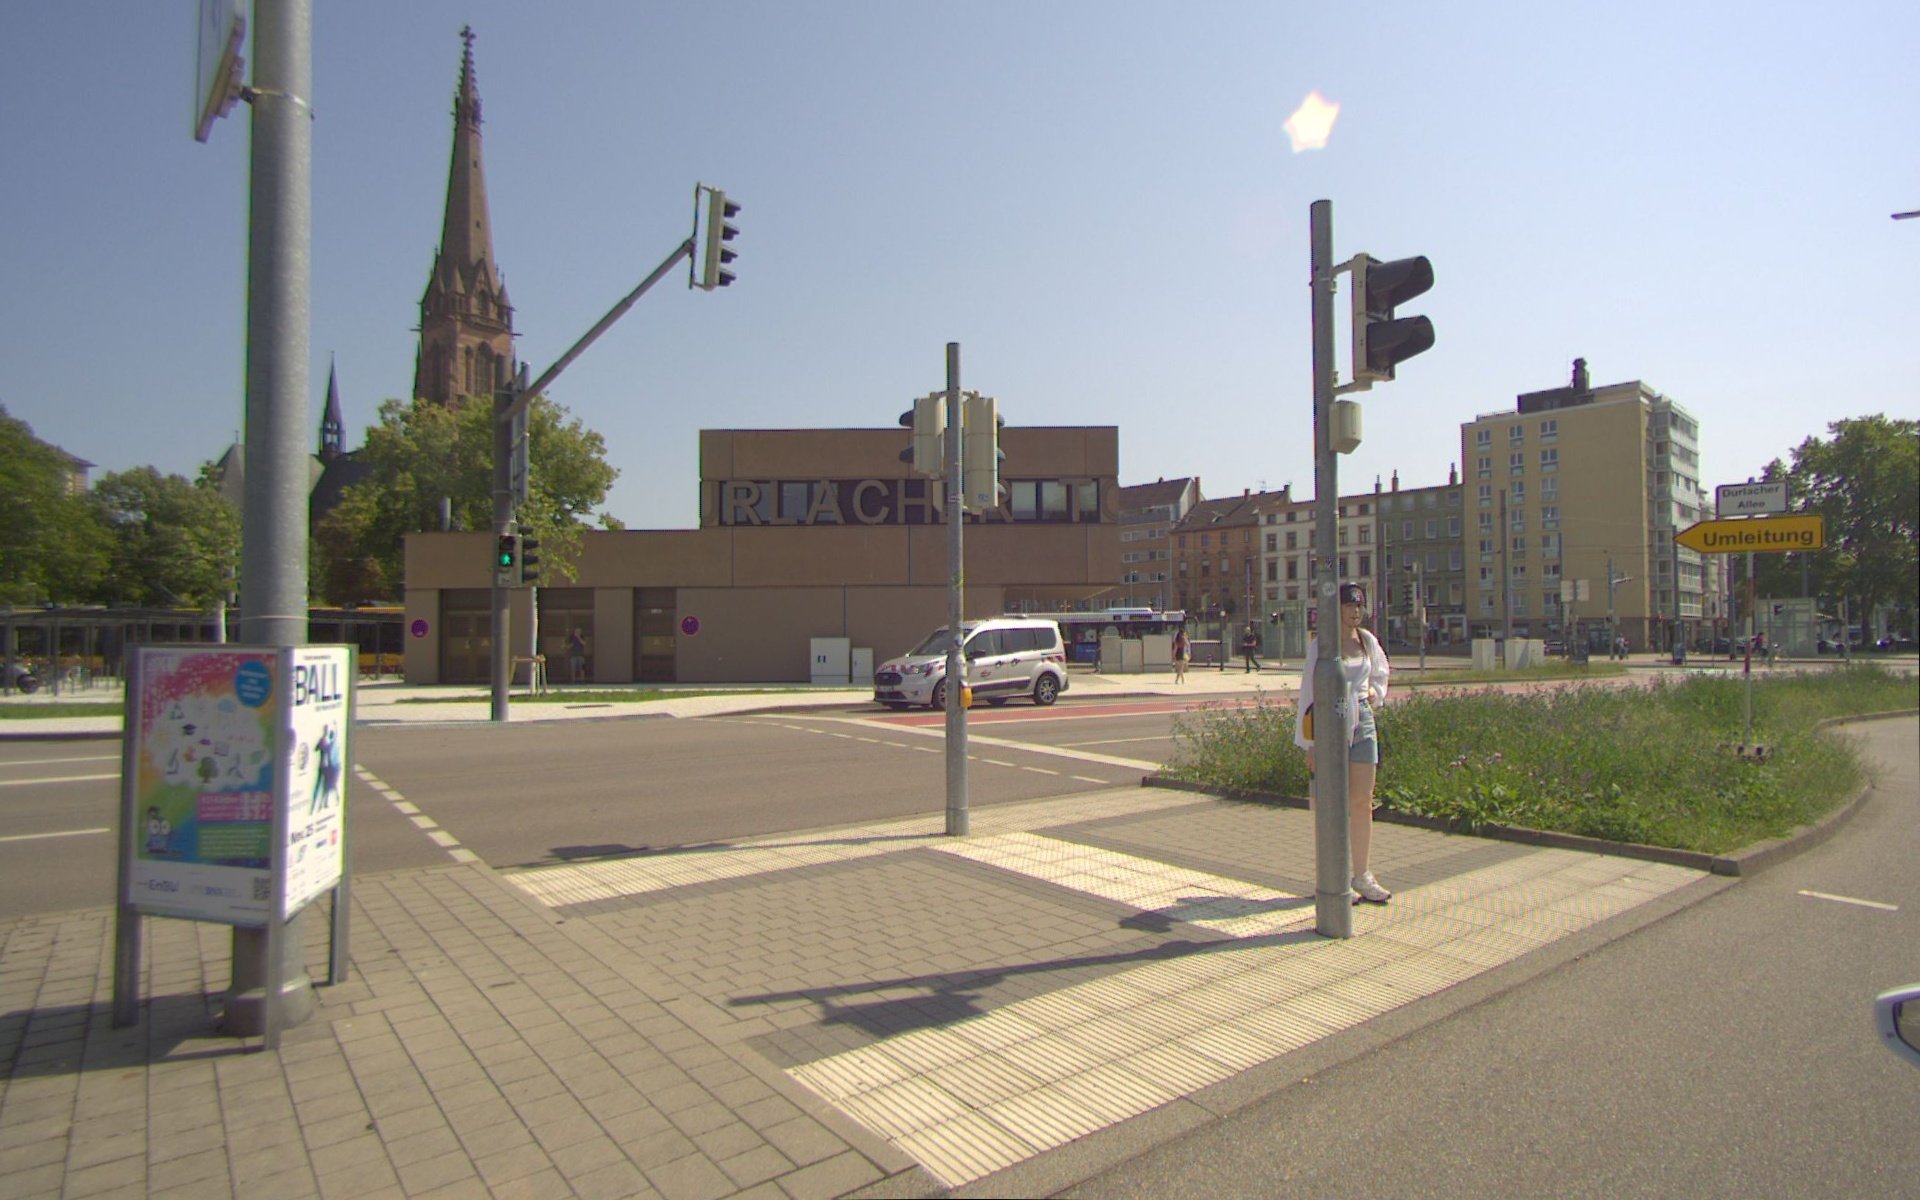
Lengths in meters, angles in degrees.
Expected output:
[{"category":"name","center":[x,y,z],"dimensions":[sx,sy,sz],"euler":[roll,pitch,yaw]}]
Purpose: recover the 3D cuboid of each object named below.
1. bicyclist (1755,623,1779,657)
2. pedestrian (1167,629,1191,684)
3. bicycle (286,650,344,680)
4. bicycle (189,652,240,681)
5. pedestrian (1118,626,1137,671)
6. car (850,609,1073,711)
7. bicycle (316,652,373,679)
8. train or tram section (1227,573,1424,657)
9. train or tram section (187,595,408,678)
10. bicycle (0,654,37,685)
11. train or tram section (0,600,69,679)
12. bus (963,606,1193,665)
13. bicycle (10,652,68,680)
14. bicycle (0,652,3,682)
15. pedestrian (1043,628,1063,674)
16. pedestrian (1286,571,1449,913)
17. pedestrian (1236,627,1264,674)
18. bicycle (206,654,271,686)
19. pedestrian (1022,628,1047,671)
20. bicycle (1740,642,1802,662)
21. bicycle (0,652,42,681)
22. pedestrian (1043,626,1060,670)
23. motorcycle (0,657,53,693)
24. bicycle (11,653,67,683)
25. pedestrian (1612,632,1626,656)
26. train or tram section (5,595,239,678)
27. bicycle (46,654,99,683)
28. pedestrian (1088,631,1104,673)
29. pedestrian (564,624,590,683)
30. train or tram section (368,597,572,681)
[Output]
[{"category":"bicyclist","center":[40.666,2.009,50.611],"dimensions":[0.603,1.664,0.830],"euler":[2,-3,-44]},{"category":"pedestrian","center":[6.998,1.784,32.098],"dimensions":[0.615,1.725,0.787],"euler":[1,-1,21]},{"category":"bicycle","center":[-23.593,2.373,36.768],"dimensions":[1.704,1.053,0.512],"euler":[0,-3,-12]},{"category":"bicycle","center":[-27.642,2.479,37.238],"dimensions":[1.608,1.053,0.413],"euler":[-1,-3,3]},{"category":"pedestrian","center":[6.734,1.956,40.393],"dimensions":[0.542,1.786,0.695],"euler":[0,-2,-13]},{"category":"car","center":[0.095,1.235,20.712],"dimensions":[4.297,1.883,1.979],"euler":[2,-5,-39]},{"category":"bicycle","center":[-23.539,2.494,38.413],"dimensions":[1.820,0.998,0.513],"euler":[-1,-3,-1]},{"category":"train or tram section","center":[17.185,0.760,47.707],"dimensions":[8.082,3.616,3.146],"euler":[-1,-3,0]},{"category":"train or tram section","center":[-31.275,1.763,47.671],"dimensions":[8.357,3.644,3.163],"euler":[-1,-3,0]},{"category":"bicycle","center":[-32.854,2.395,34.679],"dimensions":[1.608,1.053,0.413],"euler":[-1,-3,3]},{"category":"train or tram section","center":[-47.885,1.991,47.750],"dimensions":[8.164,3.606,3.139],"euler":[-1,-3,0]},{"category":"bus","center":[6.283,1.956,55.079],"dimensions":[12.235,3.111,3.108],"euler":[0,-2,1]},{"category":"bicycle","center":[-35.169,2.510,38.363],"dimensions":[1.735,1.053,0.527],"euler":[-1,-3,3]},{"category":"bicycle","center":[-35.368,2.408,35.943],"dimensions":[1.735,1.053,0.527],"euler":[-1,-3,3]},{"category":"pedestrian","center":[3.380,1.850,36.487],"dimensions":[0.679,1.635,0.639],"euler":[0,-2,6]},{"category":"pedestrian","center":[2.238,0.731,5.512],"dimensions":[0.689,1.717,0.606],"euler":[-2,-3,35]},{"category":"pedestrian","center":[10.963,1.907,37.972],"dimensions":[0.802,1.725,0.639],"euler":[2,-3,-38]},{"category":"bicycle","center":[-23.942,2.315,33.365],"dimensions":[1.702,1.053,0.513],"euler":[0,-3,-7]},{"category":"pedestrian","center":[2.932,1.951,39.512],"dimensions":[0.801,1.691,0.546],"euler":[1,-2,-33]},{"category":"bicycle","center":[40.754,2.587,50.499],"dimensions":[0.599,0.966,2.386],"euler":[1,-2,-43]},{"category":"bicycle","center":[-35.082,2.453,37.203],"dimensions":[1.735,1.053,0.527],"euler":[-1,-3,3]},{"category":"pedestrian","center":[3.450,1.813,37.968],"dimensions":[0.500,1.635,0.491],"euler":[-1,-2,24]},{"category":"motorcycle","center":[-29.191,2.334,31.126],"dimensions":[1.744,1.083,0.492],"euler":[-1,-3,3]},{"category":"bicycle","center":[-32.760,2.421,35.733],"dimensions":[1.608,1.053,0.413],"euler":[-1,-3,3]},{"category":"pedestrian","center":[46.198,3.084,70.438],"dimensions":[0.809,1.654,0.642],"euler":[2,-3,-43]},{"category":"train or tram section","center":[-39.625,1.757,47.717],"dimensions":[8.357,3.644,3.163],"euler":[-1,-3,0]},{"category":"bicycle","center":[-32.813,2.537,37.149],"dimensions":[1.608,1.053,0.413],"euler":[-1,-3,3]},{"category":"pedestrian","center":[5.345,2.028,39.551],"dimensions":[0.560,1.635,0.491],"euler":[0,-2,-2]},{"category":"pedestrian","center":[-11.260,1.579,29.559],"dimensions":[0.525,1.700,0.569],"euler":[0,-2,0]},{"category":"train or tram section","center":[-23.076,1.876,47.627],"dimensions":[8.083,3.644,3.163],"euler":[-1,-3,0]}]
